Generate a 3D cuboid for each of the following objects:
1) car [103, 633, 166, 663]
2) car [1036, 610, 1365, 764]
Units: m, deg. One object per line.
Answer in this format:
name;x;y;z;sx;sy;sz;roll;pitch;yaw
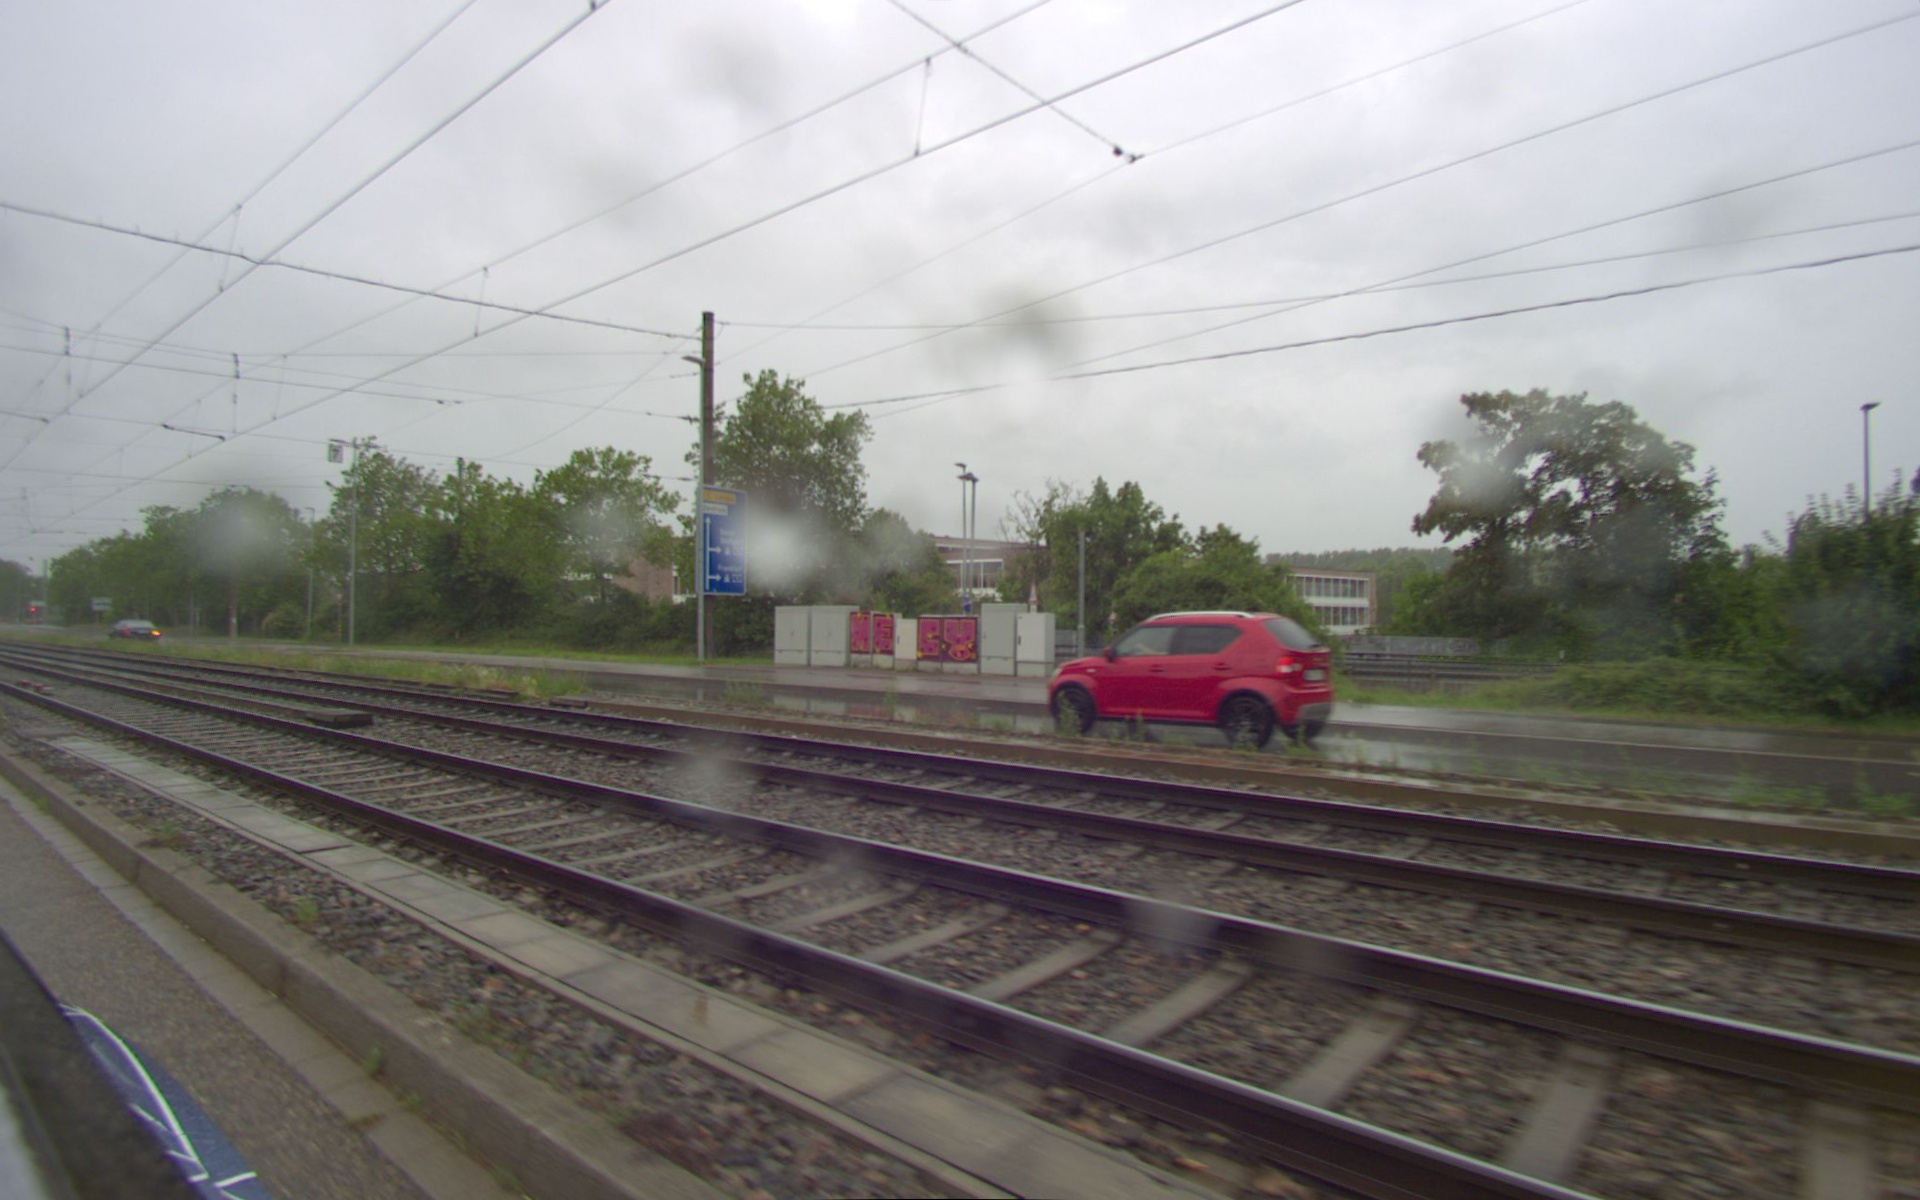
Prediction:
car;-48.006;2.778;58.806;4.953;1.534;1.973;-1;0;40
car;2.931;0.958;12.725;3.649;1.613;1.706;-1;0;41
